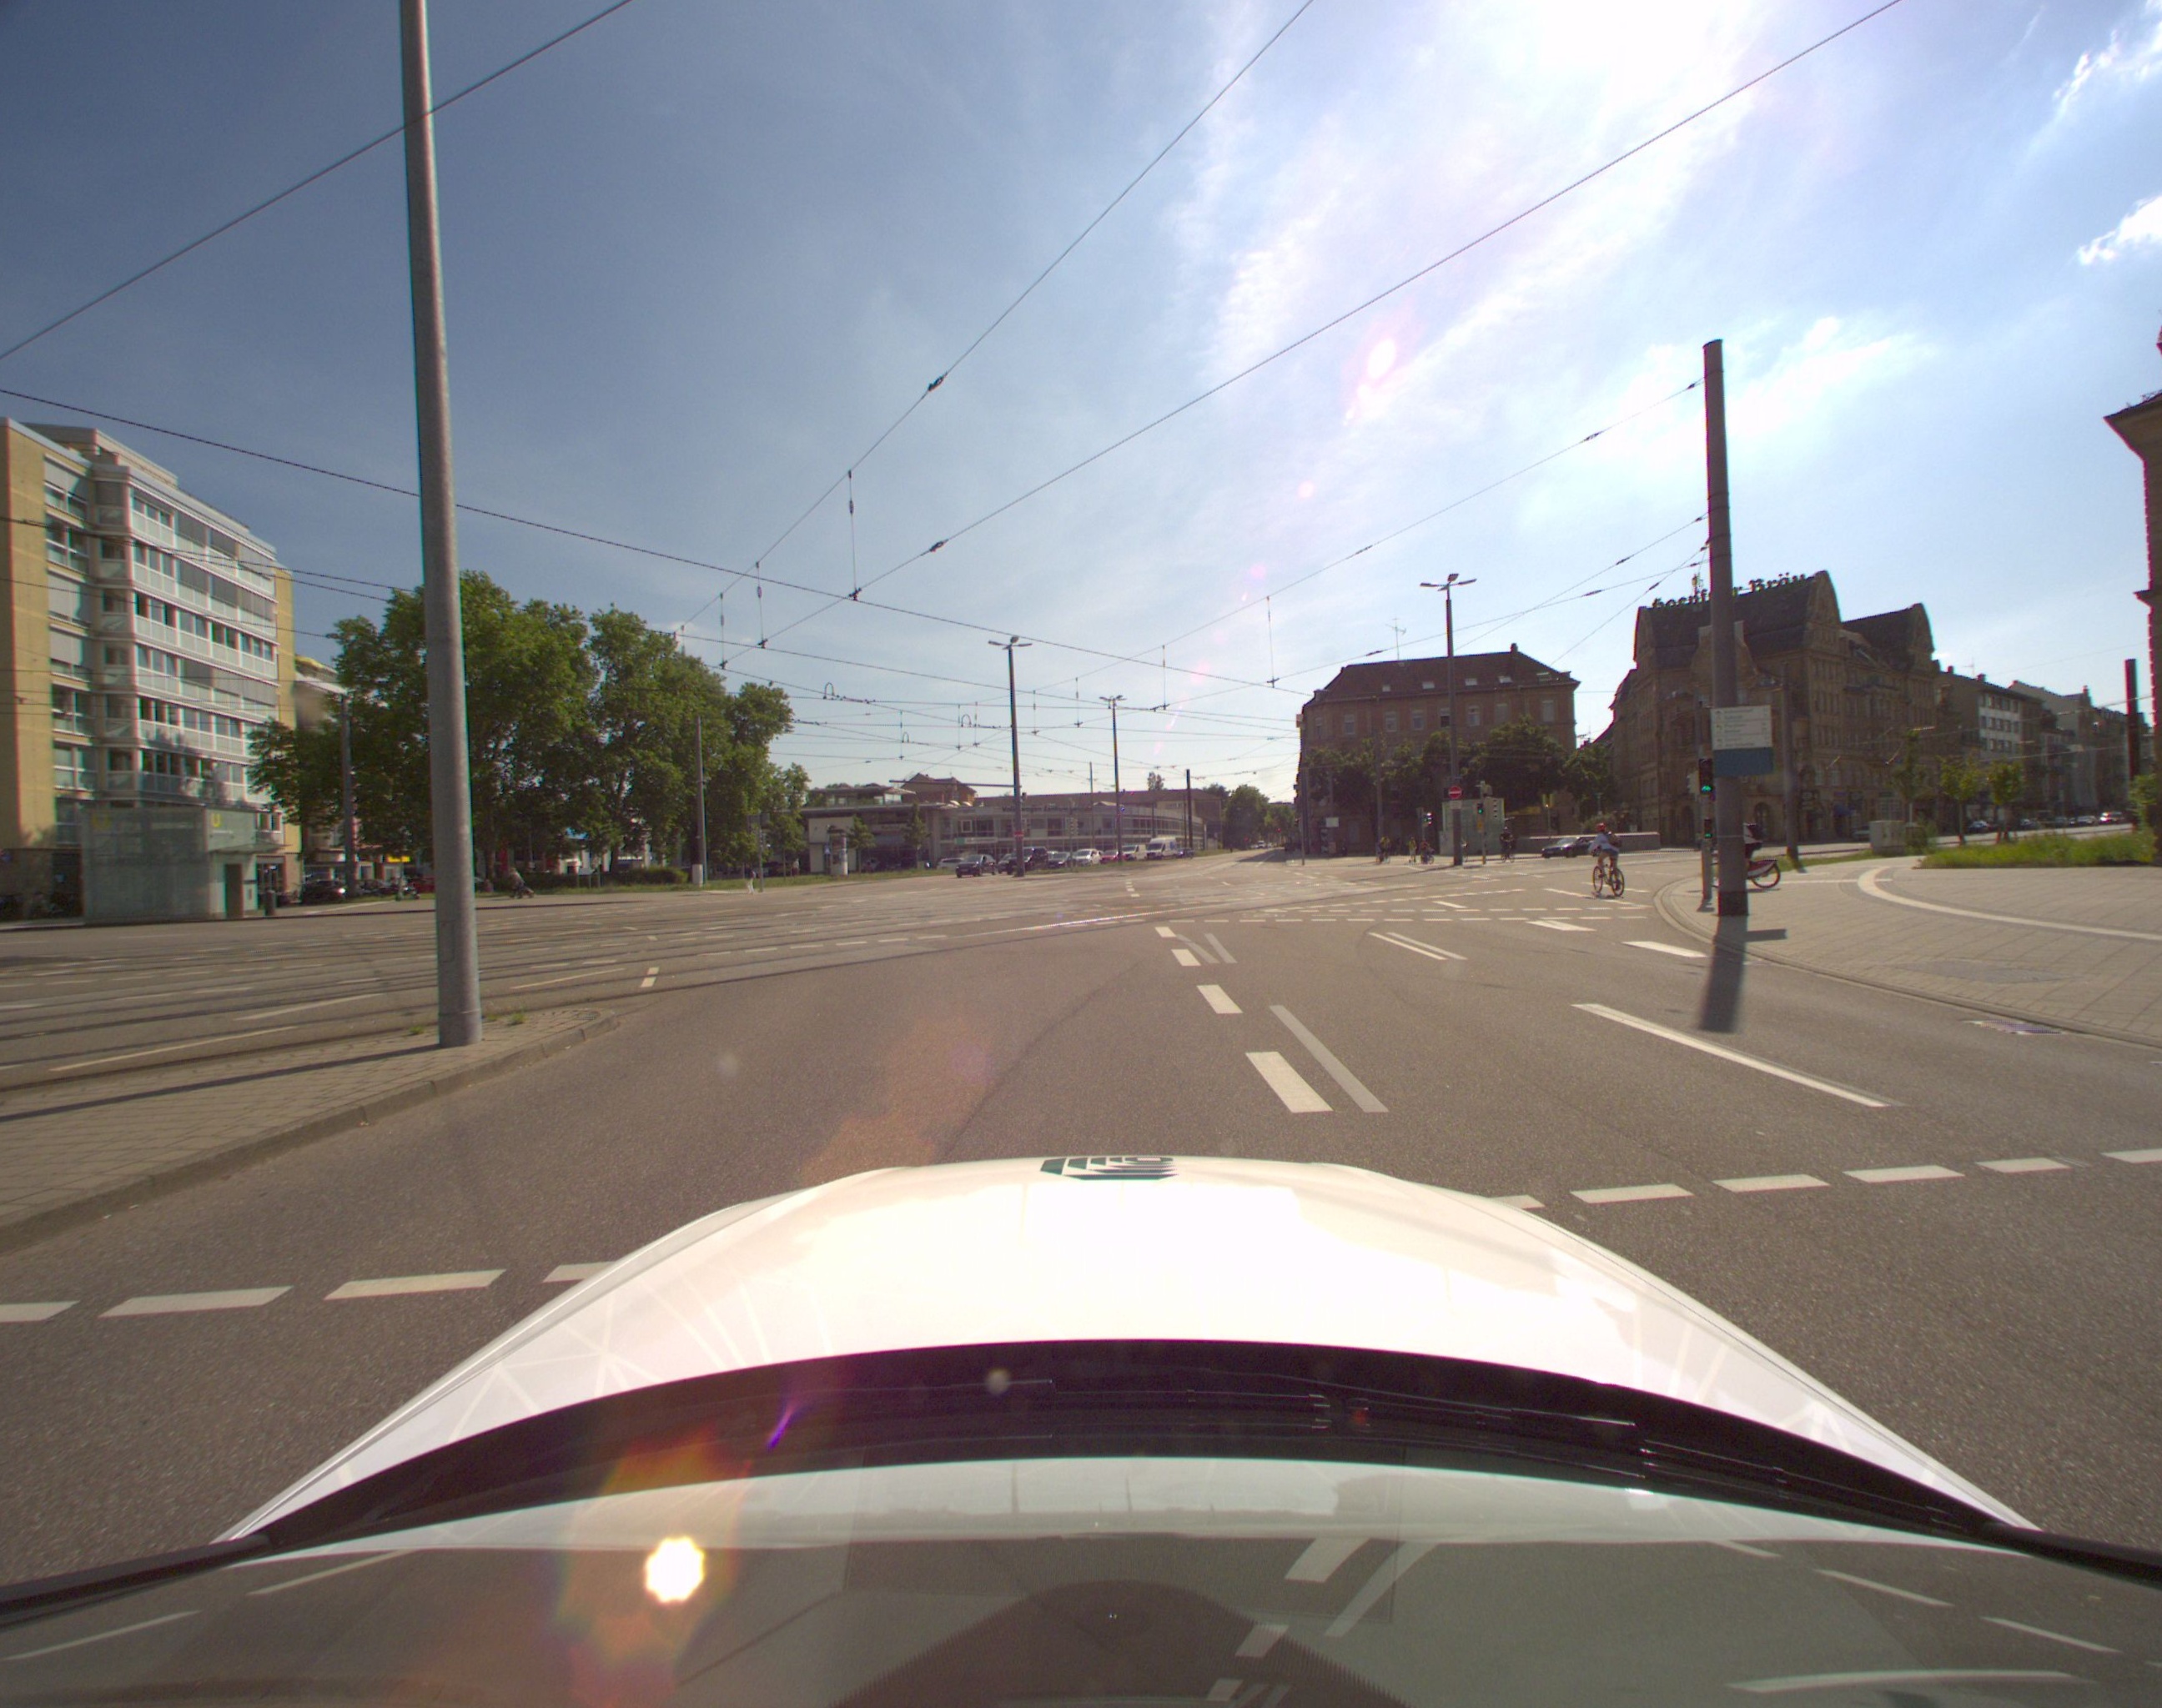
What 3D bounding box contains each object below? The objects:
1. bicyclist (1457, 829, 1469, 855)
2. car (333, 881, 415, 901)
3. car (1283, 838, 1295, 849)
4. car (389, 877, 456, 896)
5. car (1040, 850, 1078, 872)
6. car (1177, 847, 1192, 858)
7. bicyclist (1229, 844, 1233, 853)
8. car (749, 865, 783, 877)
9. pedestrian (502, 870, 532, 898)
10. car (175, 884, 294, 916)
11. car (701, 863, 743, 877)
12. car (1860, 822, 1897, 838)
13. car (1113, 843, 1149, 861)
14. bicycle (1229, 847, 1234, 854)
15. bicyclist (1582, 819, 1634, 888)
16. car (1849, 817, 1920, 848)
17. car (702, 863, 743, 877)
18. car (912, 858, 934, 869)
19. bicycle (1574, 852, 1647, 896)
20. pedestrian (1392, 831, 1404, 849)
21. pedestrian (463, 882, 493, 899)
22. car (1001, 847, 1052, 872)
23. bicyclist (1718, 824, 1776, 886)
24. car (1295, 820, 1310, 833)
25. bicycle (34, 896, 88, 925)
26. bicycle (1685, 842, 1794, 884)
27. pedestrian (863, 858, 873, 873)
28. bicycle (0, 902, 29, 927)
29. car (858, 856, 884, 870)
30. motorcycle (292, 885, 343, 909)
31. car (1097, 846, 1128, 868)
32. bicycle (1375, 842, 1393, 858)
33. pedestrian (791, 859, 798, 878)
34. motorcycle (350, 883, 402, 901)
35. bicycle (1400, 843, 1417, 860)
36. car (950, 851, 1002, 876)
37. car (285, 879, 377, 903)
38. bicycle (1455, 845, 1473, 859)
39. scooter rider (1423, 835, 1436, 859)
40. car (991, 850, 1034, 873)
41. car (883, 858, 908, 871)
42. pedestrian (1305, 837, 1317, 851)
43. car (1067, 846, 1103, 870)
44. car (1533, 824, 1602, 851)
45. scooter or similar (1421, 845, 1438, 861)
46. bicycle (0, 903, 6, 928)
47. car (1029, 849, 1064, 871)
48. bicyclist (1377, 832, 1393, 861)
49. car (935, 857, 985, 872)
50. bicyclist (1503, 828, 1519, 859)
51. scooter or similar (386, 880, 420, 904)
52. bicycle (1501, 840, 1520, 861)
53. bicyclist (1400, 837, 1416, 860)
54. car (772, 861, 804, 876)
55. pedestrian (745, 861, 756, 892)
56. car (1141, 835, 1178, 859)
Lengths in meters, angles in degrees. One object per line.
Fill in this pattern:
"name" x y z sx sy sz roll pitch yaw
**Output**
"bicyclist" 23.878 -0.728 50.900 0.498 1.621 0.650 0 0 5
"car" -49.827 2.619 57.473 3.996 1.270 1.733 0 -1 -17
"car" 40.221 -1.932 157.512 2.093 2.014 4.015 0 -1 14
"car" -52.488 2.579 64.980 3.732 1.340 1.733 0 -1 -17
"car" -1.655 0.524 63.071 1.880 1.588 4.015 -2 -1 14
"car" 13.320 -0.153 104.599 1.373 1.414 3.027 -1 -1 19
"bicyclist" 29.455 -1.073 159.767 0.746 1.568 1.091 0 -1 14
"car" -35.698 1.882 92.369 1.984 1.244 4.005 0 0 5
"pedestrian" -28.431 1.508 41.049 1.118 1.404 0.652 0 -1 -22
"car" -45.373 2.472 43.739 4.090 1.471 1.649 -2 -3 -17
"car" -42.430 1.880 96.286 3.977 1.552 1.999 -2 0 -2
"car" 74.830 -2.230 76.413 3.595 1.345 1.622 -2 0 -32
"car" 5.235 -0.230 84.493 2.166 1.680 5.057 -3 0 22
"bicycle" 29.436 -0.672 159.676 0.746 1.194 2.849 0 -1 14
"bicyclist" 13.377 -0.021 20.701 0.710 1.669 0.876 -4 0 8
"car" 37.403 -1.017 37.909 3.466 1.313 1.654 -2 0 -34
"car" -43.517 1.915 98.946 3.977 1.508 1.999 -2 0 -2
"car" -17.759 1.016 91.715 1.825 1.195 3.998 0 0 -1
"bicycle" 13.424 0.485 20.706 0.710 1.015 2.025 -4 0 8
"pedestrian" 26.169 -1.166 67.160 0.617 1.433 0.704 0 -1 -38
"pedestrian" -35.327 2.117 47.698 1.176 0.892 0.817 -2 0 -20
"car" -3.715 0.342 56.500 1.946 1.587 4.737 -2 0 17
"bicyclist" 16.568 0.034 20.259 0.719 1.488 0.940 0 -1 -34
"car" 35.438 -4.390 130.358 1.980 2.014 4.013 0 -1 12
"bicycle" -48.146 2.646 38.451 0.540 1.186 1.880 -2 0 -15
"bicycle" 16.459 0.227 20.409 0.719 1.015 1.999 0 -1 -35
"pedestrian" -22.593 1.267 86.441 0.951 1.580 0.533 0 -1 -4
"bicycle" -48.605 2.752 36.526 1.752 1.043 0.582 -3 1 -11
"car" -23.712 1.010 92.068 1.988 1.486 3.998 -2 0 -2
"motorcycle" -37.652 2.107 40.169 2.020 1.062 0.642 -2 0 7
"car" 3.005 0.307 77.312 1.879 1.917 4.219 -2 -1 17
"bicycle" 20.001 -0.246 53.764 0.919 1.069 2.758 -1 -1 17
"pedestrian" -24.458 1.227 69.581 0.388 1.596 0.466 -1 -1 23
"motorcycle" -38.942 2.112 45.035 0.632 0.842 2.051 -2 0 34
"bicycle" 21.212 -0.170 52.800 0.919 1.069 2.855 0 1 19
"car" -7.168 0.639 55.850 1.877 1.588 4.229 -3 -1 17
"car" -48.802 2.405 53.084 3.996 1.440 1.880 0 -1 -17
"bicycle" 23.880 -0.153 50.848 0.498 0.866 1.589 0 0 5
"scooter rider" 20.839 -0.410 48.740 0.585 1.397 0.406 0 -1 -1
"car" -5.214 0.581 62.680 1.879 1.588 4.018 -3 -1 17
"car" -20.936 1.157 92.067 1.988 1.486 3.997 0 0 -2
"pedestrian" 23.464 -1.004 83.024 0.716 1.433 0.876 -2 0 -42
"car" 0.379 0.355 70.386 1.879 1.917 4.219 -2 -1 17
"car" 31.231 -1.073 52.284 4.001 1.583 1.627 -2 0 -20
"scooter or similar" 20.849 -0.064 48.749 0.585 0.976 0.992 0 -1 0
"bicycle" -48.730 2.759 35.859 1.748 1.085 0.583 -3 3 -6
"car" -2.941 0.513 69.595 1.638 1.739 4.219 -2 -1 17
"bicyclist" 19.939 -0.481 53.511 0.919 1.820 1.057 -1 -1 17
"car" -11.769 1.046 79.311 4.552 1.436 1.449 0 -1 13
"bicyclist" 22.591 -0.560 42.831 0.661 1.624 0.787 0 0 22
"scooter or similar" -34.021 1.898 40.856 1.351 1.119 0.518 -2 0 9
"bicycle" 22.608 -0.215 42.913 0.661 1.069 2.477 0 1 23
"bicyclist" 21.226 -0.366 52.886 0.919 1.451 1.258 0 1 19
"car" -33.348 1.652 92.792 1.984 1.684 4.005 0 -1 5
"pedestrian" -17.307 1.191 42.695 0.456 1.605 0.396 0 -1 -36
"car" 8.884 -0.762 91.618 2.188 2.575 5.909 -1 -1 26
